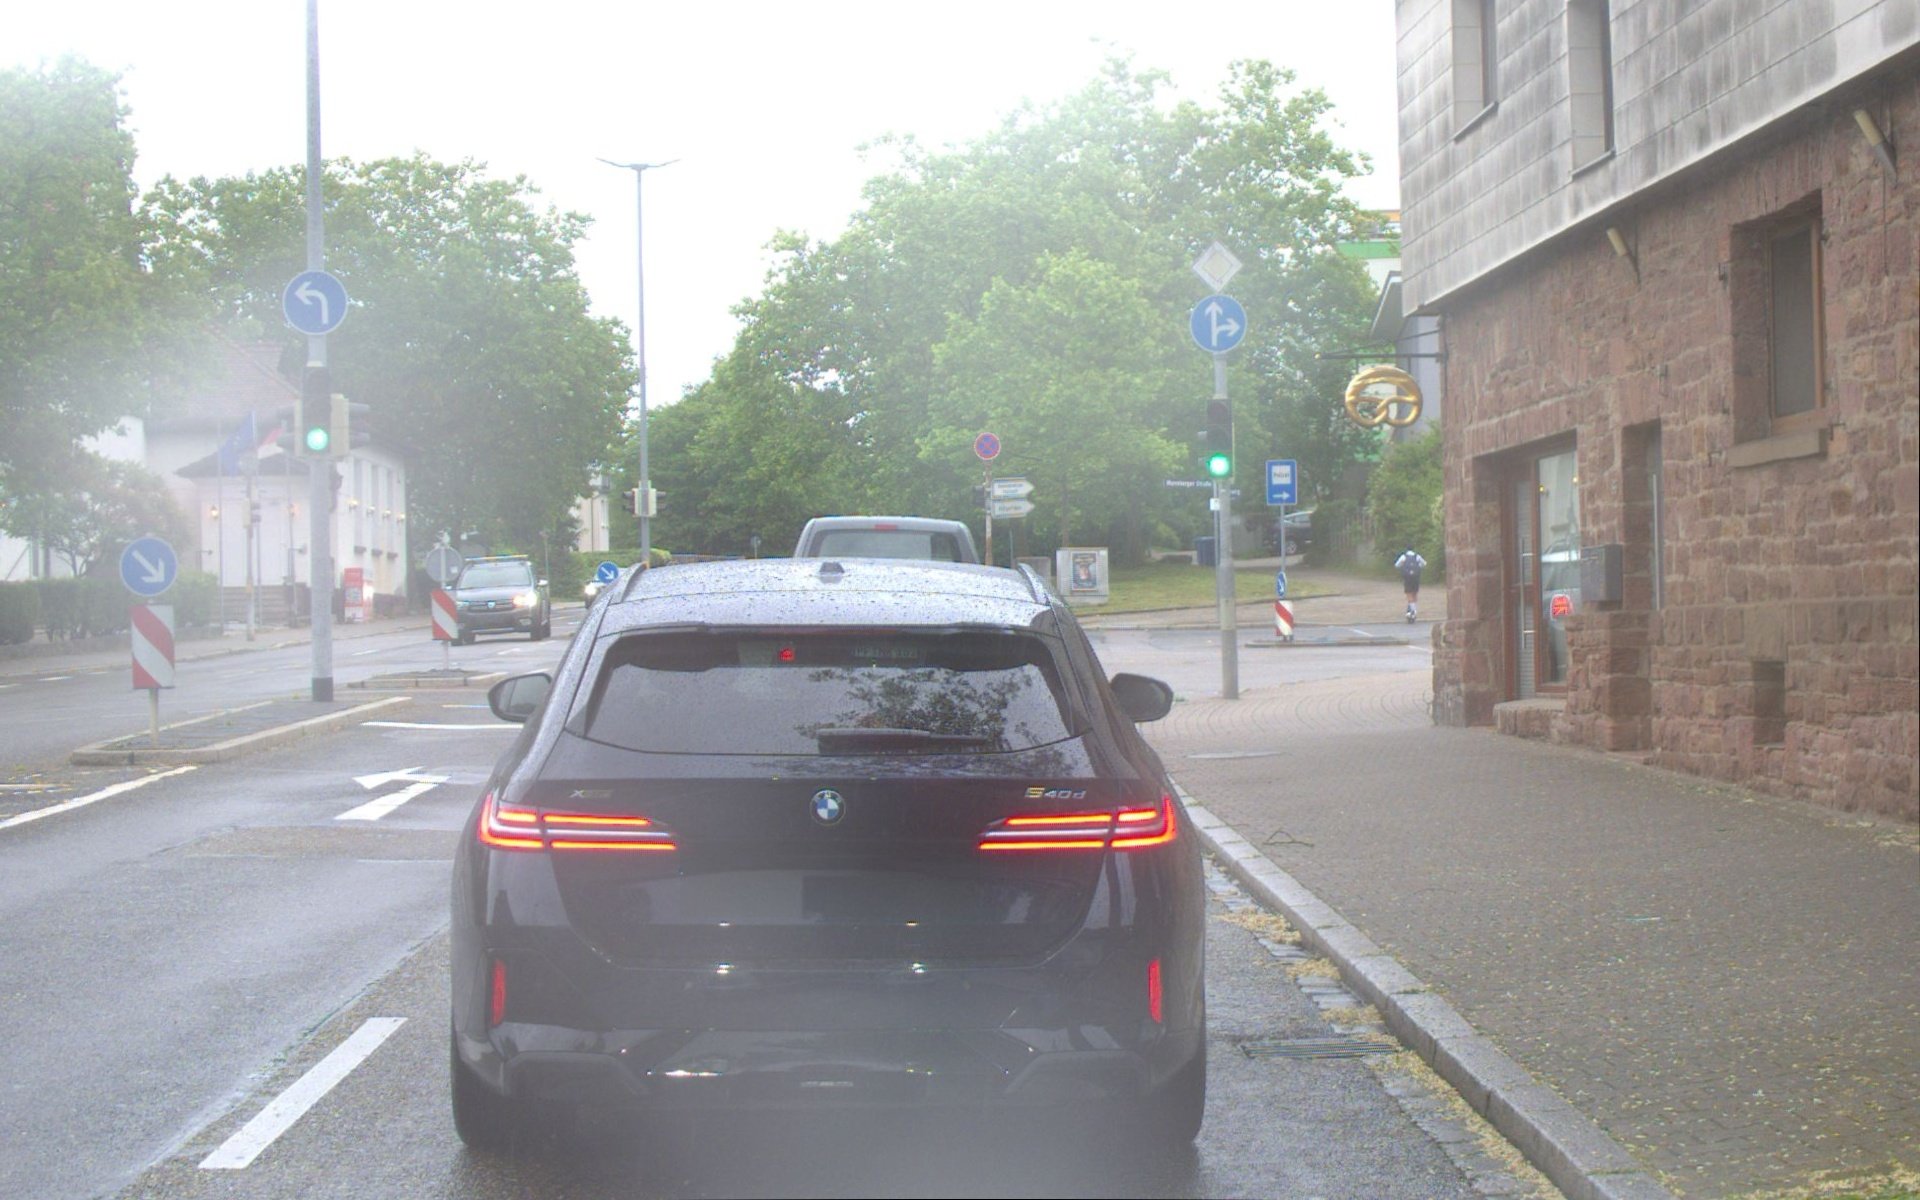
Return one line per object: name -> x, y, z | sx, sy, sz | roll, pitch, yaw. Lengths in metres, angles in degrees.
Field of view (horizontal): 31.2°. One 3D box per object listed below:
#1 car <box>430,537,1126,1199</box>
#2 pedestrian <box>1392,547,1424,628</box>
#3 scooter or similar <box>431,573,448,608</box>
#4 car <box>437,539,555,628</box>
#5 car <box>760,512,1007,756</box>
car -> -0.508, 0.624, 9.389 | 1.523, 1.529, 3.532 | 1, 0, -4
pedestrian -> 9.001, -0.252, 69.083 | 0.601, 1.611, 0.525 | 1, 0, 6
scooter or similar -> -15.892, -0.297, 104.932 | 0.389, 1.061, 1.411 | 1, 0, -5
car -> -8.866, -0.346, 65.980 | 1.898, 1.572, 4.503 | -1, 2, -3
car -> -0.677, 0.244, 27.478 | 1.812, 1.802, 3.757 | 1, 0, -4
